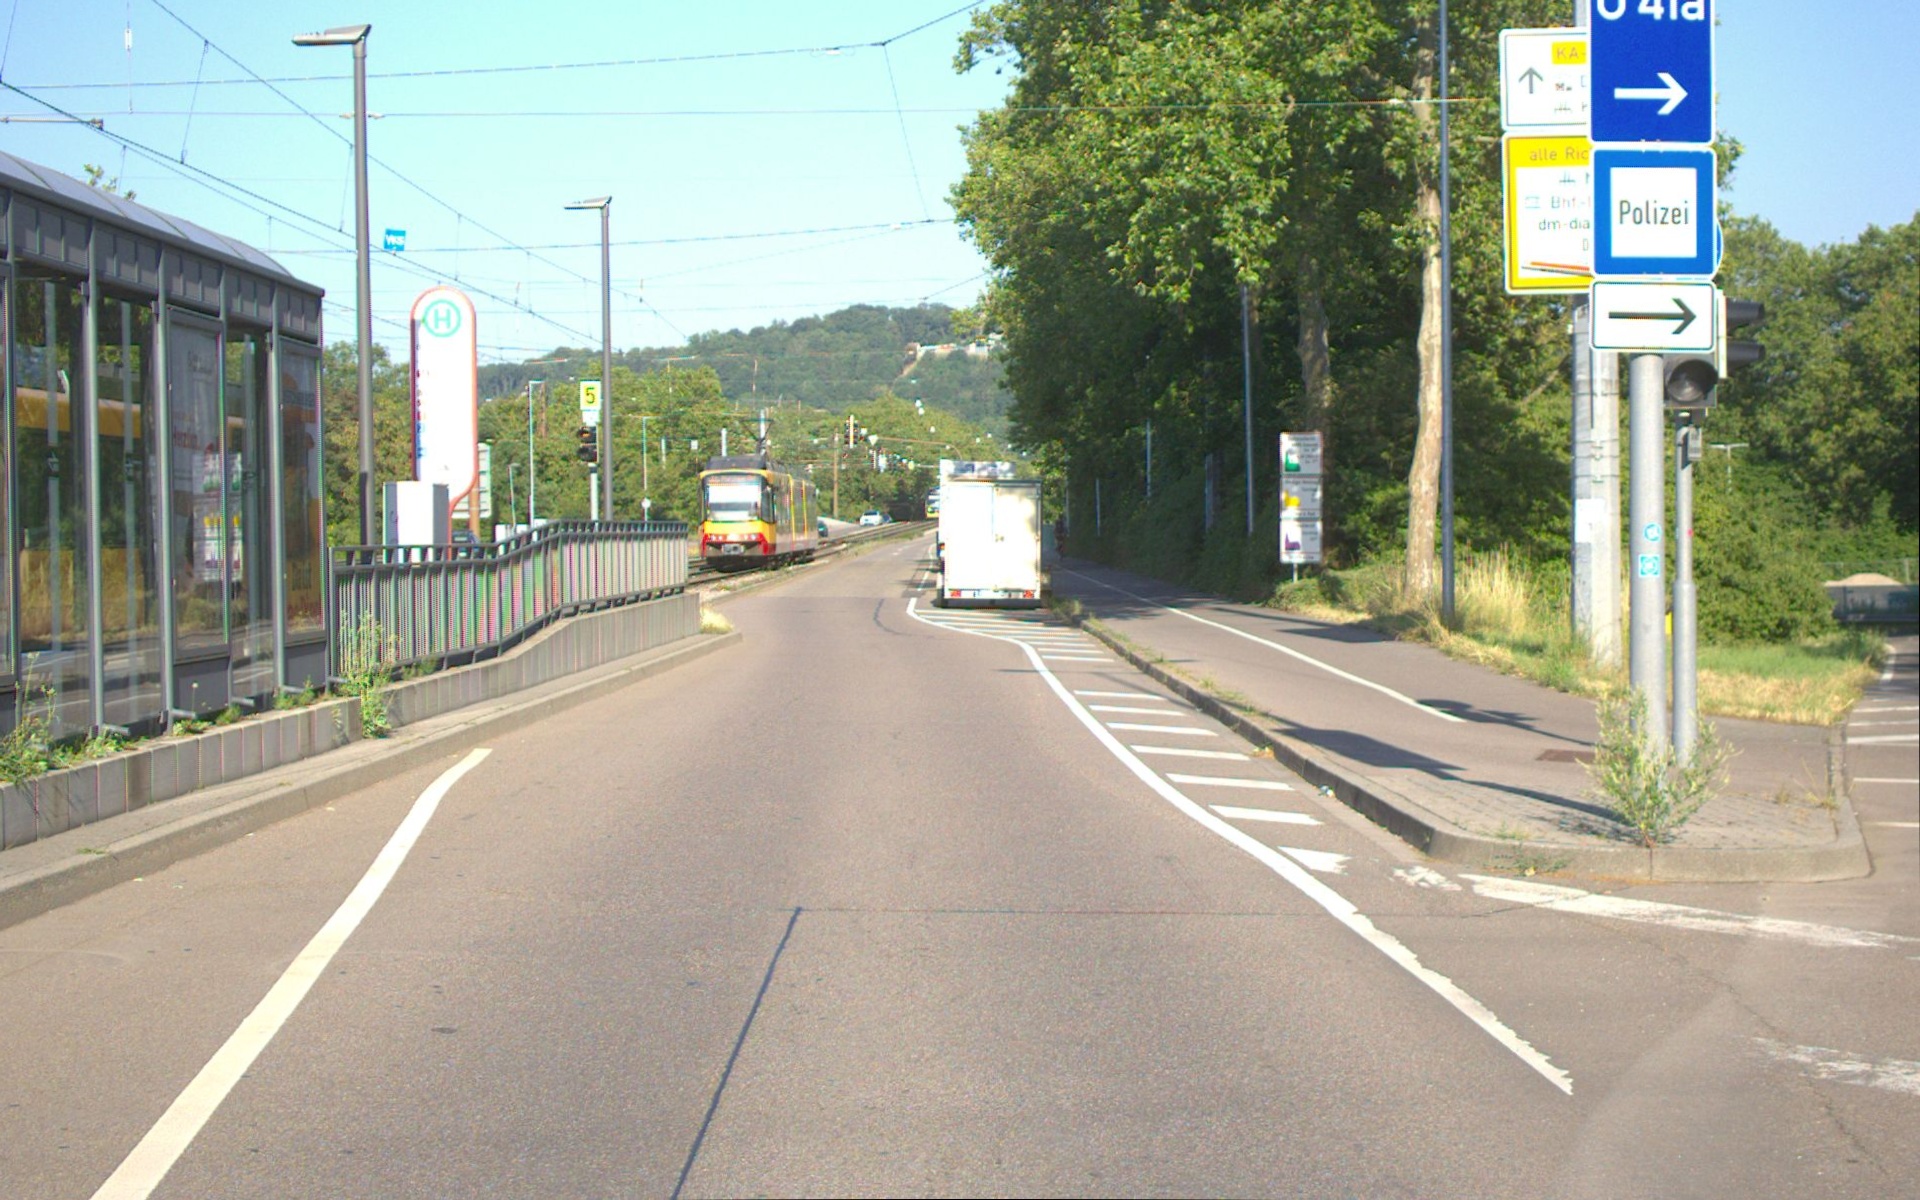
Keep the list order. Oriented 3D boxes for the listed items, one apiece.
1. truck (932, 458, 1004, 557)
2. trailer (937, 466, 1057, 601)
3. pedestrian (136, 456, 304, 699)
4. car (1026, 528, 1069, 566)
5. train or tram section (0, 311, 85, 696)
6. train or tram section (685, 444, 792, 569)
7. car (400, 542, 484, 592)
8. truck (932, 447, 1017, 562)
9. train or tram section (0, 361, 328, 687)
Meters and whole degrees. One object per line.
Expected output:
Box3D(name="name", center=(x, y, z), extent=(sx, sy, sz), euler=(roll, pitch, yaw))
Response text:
Box3D(name="truck", center=(0.268, -3.711, 138.510), extent=(2.717, 3.770, 9.762), euler=(1, 1, 0))
Box3D(name="trailer", center=(0.829, -1.393, 71.681), extent=(2.251, 2.685, 5.946), euler=(0, 1, 3))
Box3D(name="pedestrian", center=(-4.640, -0.150, 21.568), extent=(0.761, 1.488, 0.693), euler=(1, 1, 34))
Box3D(name="car", center=(3.416, -2.078, 134.585), extent=(1.653, 1.432, 3.777), euler=(0, 1, 1))
Box3D(name="train or tram section", center=(-11.436, -0.925, 30.939), extent=(2.827, 3.992, 15.875), euler=(1, 1, 1))
Box3D(name="train or tram section", center=(-7.671, -3.254, 120.559), extent=(2.721, 4.077, 13.616), euler=(-1, 1, 0))
Box3D(name="car", center=(-16.682, -1.082, 110.869), extent=(1.993, 1.556, 4.543), euler=(0, 1, 0))
Box3D(name="truck", center=(0.460, -3.293, 119.544), extent=(2.742, 3.770, 10.090), euler=(1, 1, 0))
Box3D(name="train or tram section", center=(-11.073, -0.985, 45.425), extent=(2.827, 3.674, 12.969), euler=(1, 1, 1))
